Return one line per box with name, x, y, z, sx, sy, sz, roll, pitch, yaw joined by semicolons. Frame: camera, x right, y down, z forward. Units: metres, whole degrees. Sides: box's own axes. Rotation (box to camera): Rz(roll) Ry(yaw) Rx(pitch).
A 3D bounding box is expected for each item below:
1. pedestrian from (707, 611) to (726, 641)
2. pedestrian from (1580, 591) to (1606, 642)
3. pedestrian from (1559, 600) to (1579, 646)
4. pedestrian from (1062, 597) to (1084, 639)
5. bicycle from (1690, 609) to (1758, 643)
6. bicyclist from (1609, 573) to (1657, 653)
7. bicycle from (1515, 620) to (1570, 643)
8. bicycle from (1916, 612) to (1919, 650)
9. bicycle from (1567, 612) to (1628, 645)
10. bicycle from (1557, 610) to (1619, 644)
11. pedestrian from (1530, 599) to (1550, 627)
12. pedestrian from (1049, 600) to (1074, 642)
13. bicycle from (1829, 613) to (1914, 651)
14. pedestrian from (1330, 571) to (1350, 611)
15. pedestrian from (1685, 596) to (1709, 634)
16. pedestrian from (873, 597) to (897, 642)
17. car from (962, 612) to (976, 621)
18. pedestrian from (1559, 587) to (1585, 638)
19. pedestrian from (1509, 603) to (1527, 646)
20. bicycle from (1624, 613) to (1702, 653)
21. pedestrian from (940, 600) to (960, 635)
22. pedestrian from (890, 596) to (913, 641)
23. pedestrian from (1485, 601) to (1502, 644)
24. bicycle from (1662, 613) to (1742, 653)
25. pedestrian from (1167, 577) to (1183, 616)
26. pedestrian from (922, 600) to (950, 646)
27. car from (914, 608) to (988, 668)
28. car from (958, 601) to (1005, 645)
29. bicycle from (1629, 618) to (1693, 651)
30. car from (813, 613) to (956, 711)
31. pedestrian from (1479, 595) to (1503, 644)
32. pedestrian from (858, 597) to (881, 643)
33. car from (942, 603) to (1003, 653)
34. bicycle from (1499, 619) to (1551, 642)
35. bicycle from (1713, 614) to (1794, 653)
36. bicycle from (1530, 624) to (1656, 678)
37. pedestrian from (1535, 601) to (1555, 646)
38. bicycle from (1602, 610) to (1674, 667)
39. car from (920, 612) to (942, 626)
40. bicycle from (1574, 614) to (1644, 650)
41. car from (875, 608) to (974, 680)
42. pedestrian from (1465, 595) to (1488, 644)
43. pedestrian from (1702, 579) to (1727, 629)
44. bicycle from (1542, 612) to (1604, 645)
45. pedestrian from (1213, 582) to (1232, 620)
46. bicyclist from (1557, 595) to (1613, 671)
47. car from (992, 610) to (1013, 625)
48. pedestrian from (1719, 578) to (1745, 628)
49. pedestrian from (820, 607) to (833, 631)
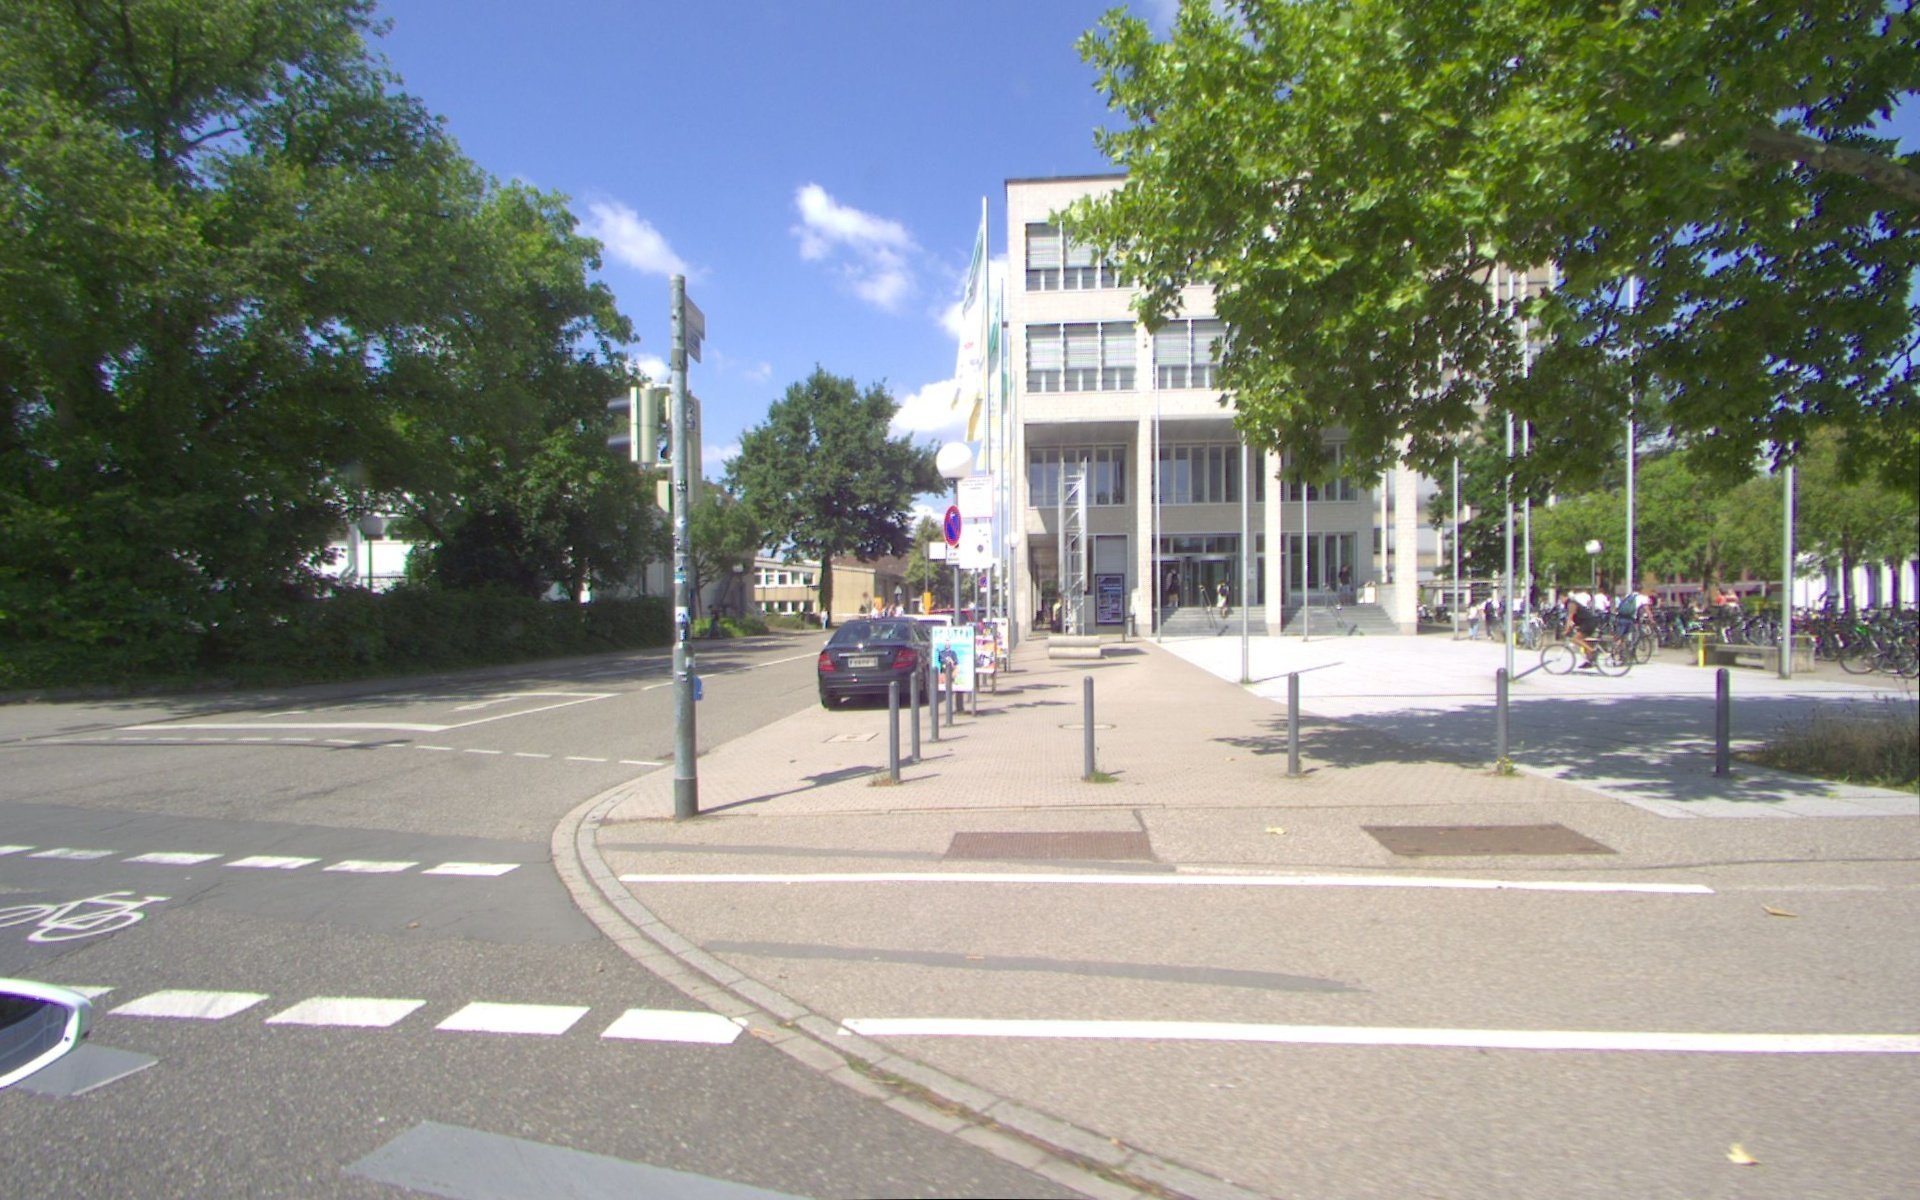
pedestrian;-12.558;1.333;51.663;0.837;1.540;0.521;-1;-2;8
pedestrian;27.969;0.739;44.242;0.840;2.257;0.632;-1;-2;24
pedestrian;30.660;1.167;50.406;0.704;2.257;0.632;-1;-2;24
pedestrian;4.852;0.785;42.941;0.903;1.763;1.001;0;0;5
bicycle;25.901;0.904;33.979;0.594;1.112;1.762;0;-2;-25
bicyclist;15.966;0.318;23.760;0.750;1.868;0.659;1;-2;-29
bicycle;21.071;1.120;36.229;1.734;0.803;0.520;-1;0;-7
bicycle;28.545;0.880;28.551;0.594;1.112;1.762;0;-2;-25
bicycle;22.396;1.010;35.225;0.594;1.112;1.762;0;-2;-25
bicycle;21.798;0.952;34.799;0.594;1.112;1.762;0;-2;-25
pedestrian;29.795;0.671;51.434;0.703;1.455;0.633;-1;-2;16
pedestrian;4.118;0.842;40.647;0.682;1.661;0.734;0;0;-33
bicycle;27.107;0.966;29.811;0.594;1.112;1.762;0;-2;-25
pedestrian;17.512;-0.406;46.175;0.706;1.820;0.717;-1;-2;8
pedestrian;34.851;0.725;47.348;0.705;1.799;0.632;0;-2;-25
pedestrian;-3.288;0.863;43.778;0.772;1.951;0.731;0;0;27
car;1.532;2.670;162.496;1.961;1.566;4.211;0;-1;5
pedestrian;27.477;0.589;44.972;0.624;2.257;0.714;0;-2;-25
pedestrian;29.479;1.291;52.928;0.704;2.257;0.632;-1;-2;24
bicycle;20.259;0.965;28.910;0.594;1.112;1.762;0;-2;-25
pedestrian;-0.499;0.898;51.654;0.615;1.740;1.036;-1;0;-27
pedestrian;-2.565;0.816;44.128;0.715;1.951;0.748;0;0;28
pedestrian;28.378;1.210;53.292;0.704;2.257;0.632;-1;-2;24
bicycle;21.327;0.962;28.821;0.594;1.112;1.762;0;-2;-25
pedestrian;9.497;-0.166;44.338;0.622;1.687;0.717;-1;-2;8
pedestrian;-1.032;0.961;42.701;1.077;1.945;1.020;0;0;6
car;-0.195;1.008;28.331;1.588;1.516;4.146;-2;-1;6
car;0.871;0.877;39.428;1.691;1.549;4.567;-2;-1;2
bicycle;24.345;1.214;34.802;0.594;1.112;1.762;0;-2;-25
car;-1.160;0.978;17.659;1.690;1.418;4.948;-2;-1;5
pedestrian;19.171;0.714;36.152;0.623;1.768;0.715;-1;-2;19
pedestrian;-3.902;0.858;43.284;0.773;1.951;0.591;0;0;27
car;0.469;0.910;33.517;1.691;1.549;4.000;-1;-1;5
bicycle;21.083;1.134;37.364;1.734;0.803;0.520;-1;0;-7
bicycle;23.317;0.993;29.450;0.594;1.112;1.762;0;-2;-25
bicycle;13.412;1.092;21.253;2.131;1.092;0.896;-4;-3;41
pedestrian;29.623;1.188;50.700;0.703;2.257;0.633;-1;-2;17
bicycle;16.159;0.927;23.871;1.847;1.313;0.659;1;-2;-30
car;-3.249;2.096;112.640;1.961;1.566;4.211;0;-1;5
bicycle;20.359;1.014;31.443;0.594;1.112;1.762;0;-2;-25
car;-0.712;0.959;23.154;1.691;1.418;4.439;-3;-1;5
pedestrian;18.602;0.714;36.068;0.623;1.768;0.715;-1;-2;19
pedestrian;35.160;0.200;46.650;0.705;2.257;0.632;0;-2;-25
bicycle;21.133;0.987;34.543;0.594;1.112;1.762;0;-2;-25
pedestrian;11.219;0.059;42.847;0.706;1.605;0.717;-1;-2;8
bicyclist;13.321;0.687;21.346;0.923;1.585;0.657;0;0;43
car;4.427;1.825;104.664;1.961;1.566;4.211;0;-1;5
pedestrian;35.375;0.160;45.882;0.705;2.257;0.632;0;-2;-25
pedestrian;-9.326;1.330;70.009;0.701;1.648;0.883;0;0;4
